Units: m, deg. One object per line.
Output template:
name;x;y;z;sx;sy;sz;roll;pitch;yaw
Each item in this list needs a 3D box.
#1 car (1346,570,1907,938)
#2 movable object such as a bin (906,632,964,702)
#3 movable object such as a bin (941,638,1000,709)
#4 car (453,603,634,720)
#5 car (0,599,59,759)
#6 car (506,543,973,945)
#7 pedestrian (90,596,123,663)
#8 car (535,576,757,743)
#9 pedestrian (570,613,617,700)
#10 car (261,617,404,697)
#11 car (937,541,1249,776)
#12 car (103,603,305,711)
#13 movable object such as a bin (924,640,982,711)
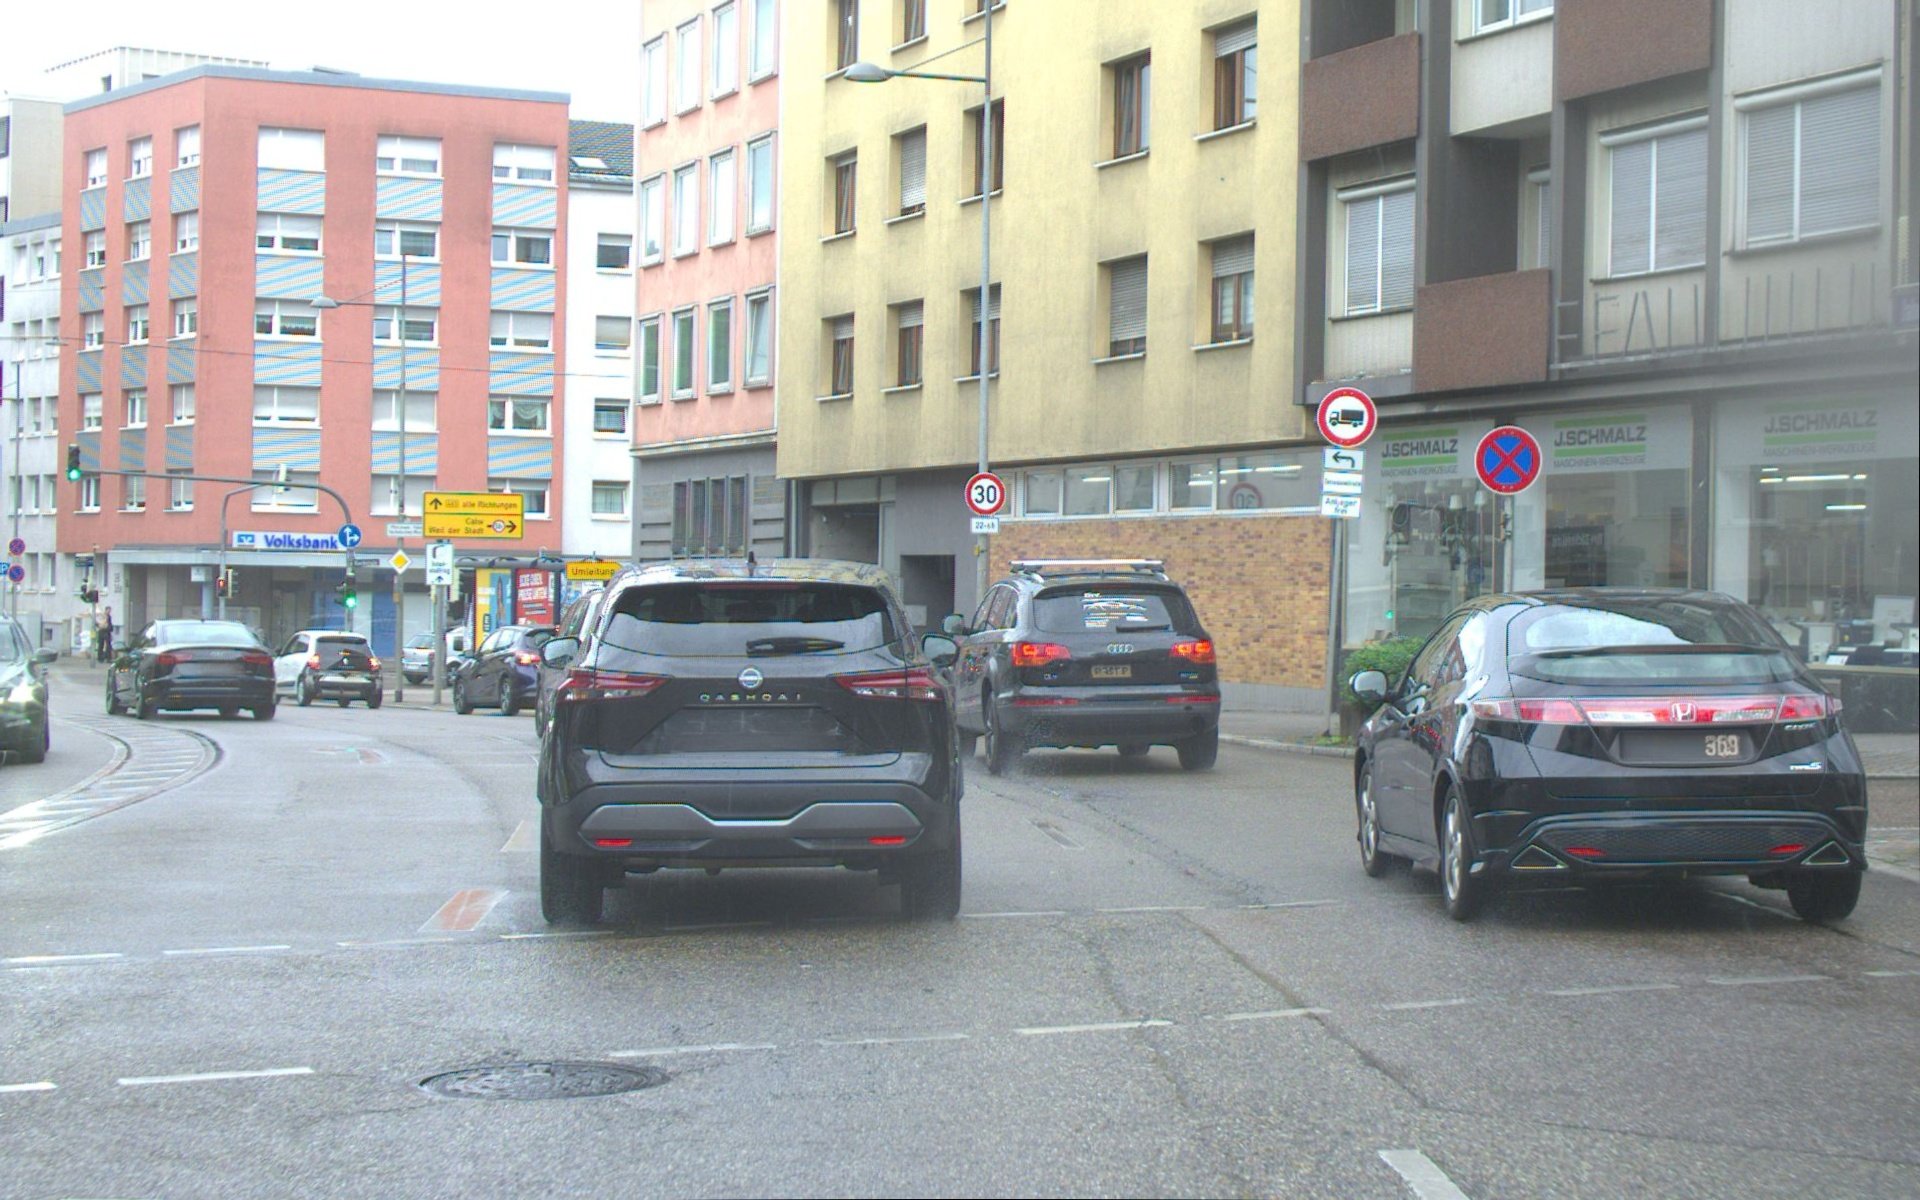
car;2.946;0.630;16.044;1.783;1.492;4.056;0;0;-1
movable object such as a bin;-0.390;1.043;53.603;0.680;1.073;0.668;1;-1;-24
movable object such as a bin;0.157;1.110;52.349;0.680;1.073;0.668;1;-1;-24
car;-6.895;0.985;56.616;1.945;1.810;4.001;-1;0;-22
car;-9.885;0.750;33.441;1.983;1.454;4.487;-1;0;-13
car;-1.062;0.578;15.999;1.894;1.623;4.001;0;0;-5
pedestrian;-27.778;0.963;111.907;0.825;2.151;0.770;3;-1;-25
car;-3.471;0.611;37.382;1.945;1.679;4.001;-1;0;-12
pedestrian;-7.654;1.174;71.740;0.672;1.781;1.095;1;-1;-21
car;-12.899;1.156;70.467;1.993;1.481;4.001;3;-1;-23
car;1.066;0.479;30.391;2.021;1.863;4.900;-1;0;-6
car;-10.844;0.787;49.083;1.993;1.383;4.501;3;-1;-23
movable object such as a bin;-0.115;1.162;52.973;0.680;1.073;0.668;1;-1;-24
